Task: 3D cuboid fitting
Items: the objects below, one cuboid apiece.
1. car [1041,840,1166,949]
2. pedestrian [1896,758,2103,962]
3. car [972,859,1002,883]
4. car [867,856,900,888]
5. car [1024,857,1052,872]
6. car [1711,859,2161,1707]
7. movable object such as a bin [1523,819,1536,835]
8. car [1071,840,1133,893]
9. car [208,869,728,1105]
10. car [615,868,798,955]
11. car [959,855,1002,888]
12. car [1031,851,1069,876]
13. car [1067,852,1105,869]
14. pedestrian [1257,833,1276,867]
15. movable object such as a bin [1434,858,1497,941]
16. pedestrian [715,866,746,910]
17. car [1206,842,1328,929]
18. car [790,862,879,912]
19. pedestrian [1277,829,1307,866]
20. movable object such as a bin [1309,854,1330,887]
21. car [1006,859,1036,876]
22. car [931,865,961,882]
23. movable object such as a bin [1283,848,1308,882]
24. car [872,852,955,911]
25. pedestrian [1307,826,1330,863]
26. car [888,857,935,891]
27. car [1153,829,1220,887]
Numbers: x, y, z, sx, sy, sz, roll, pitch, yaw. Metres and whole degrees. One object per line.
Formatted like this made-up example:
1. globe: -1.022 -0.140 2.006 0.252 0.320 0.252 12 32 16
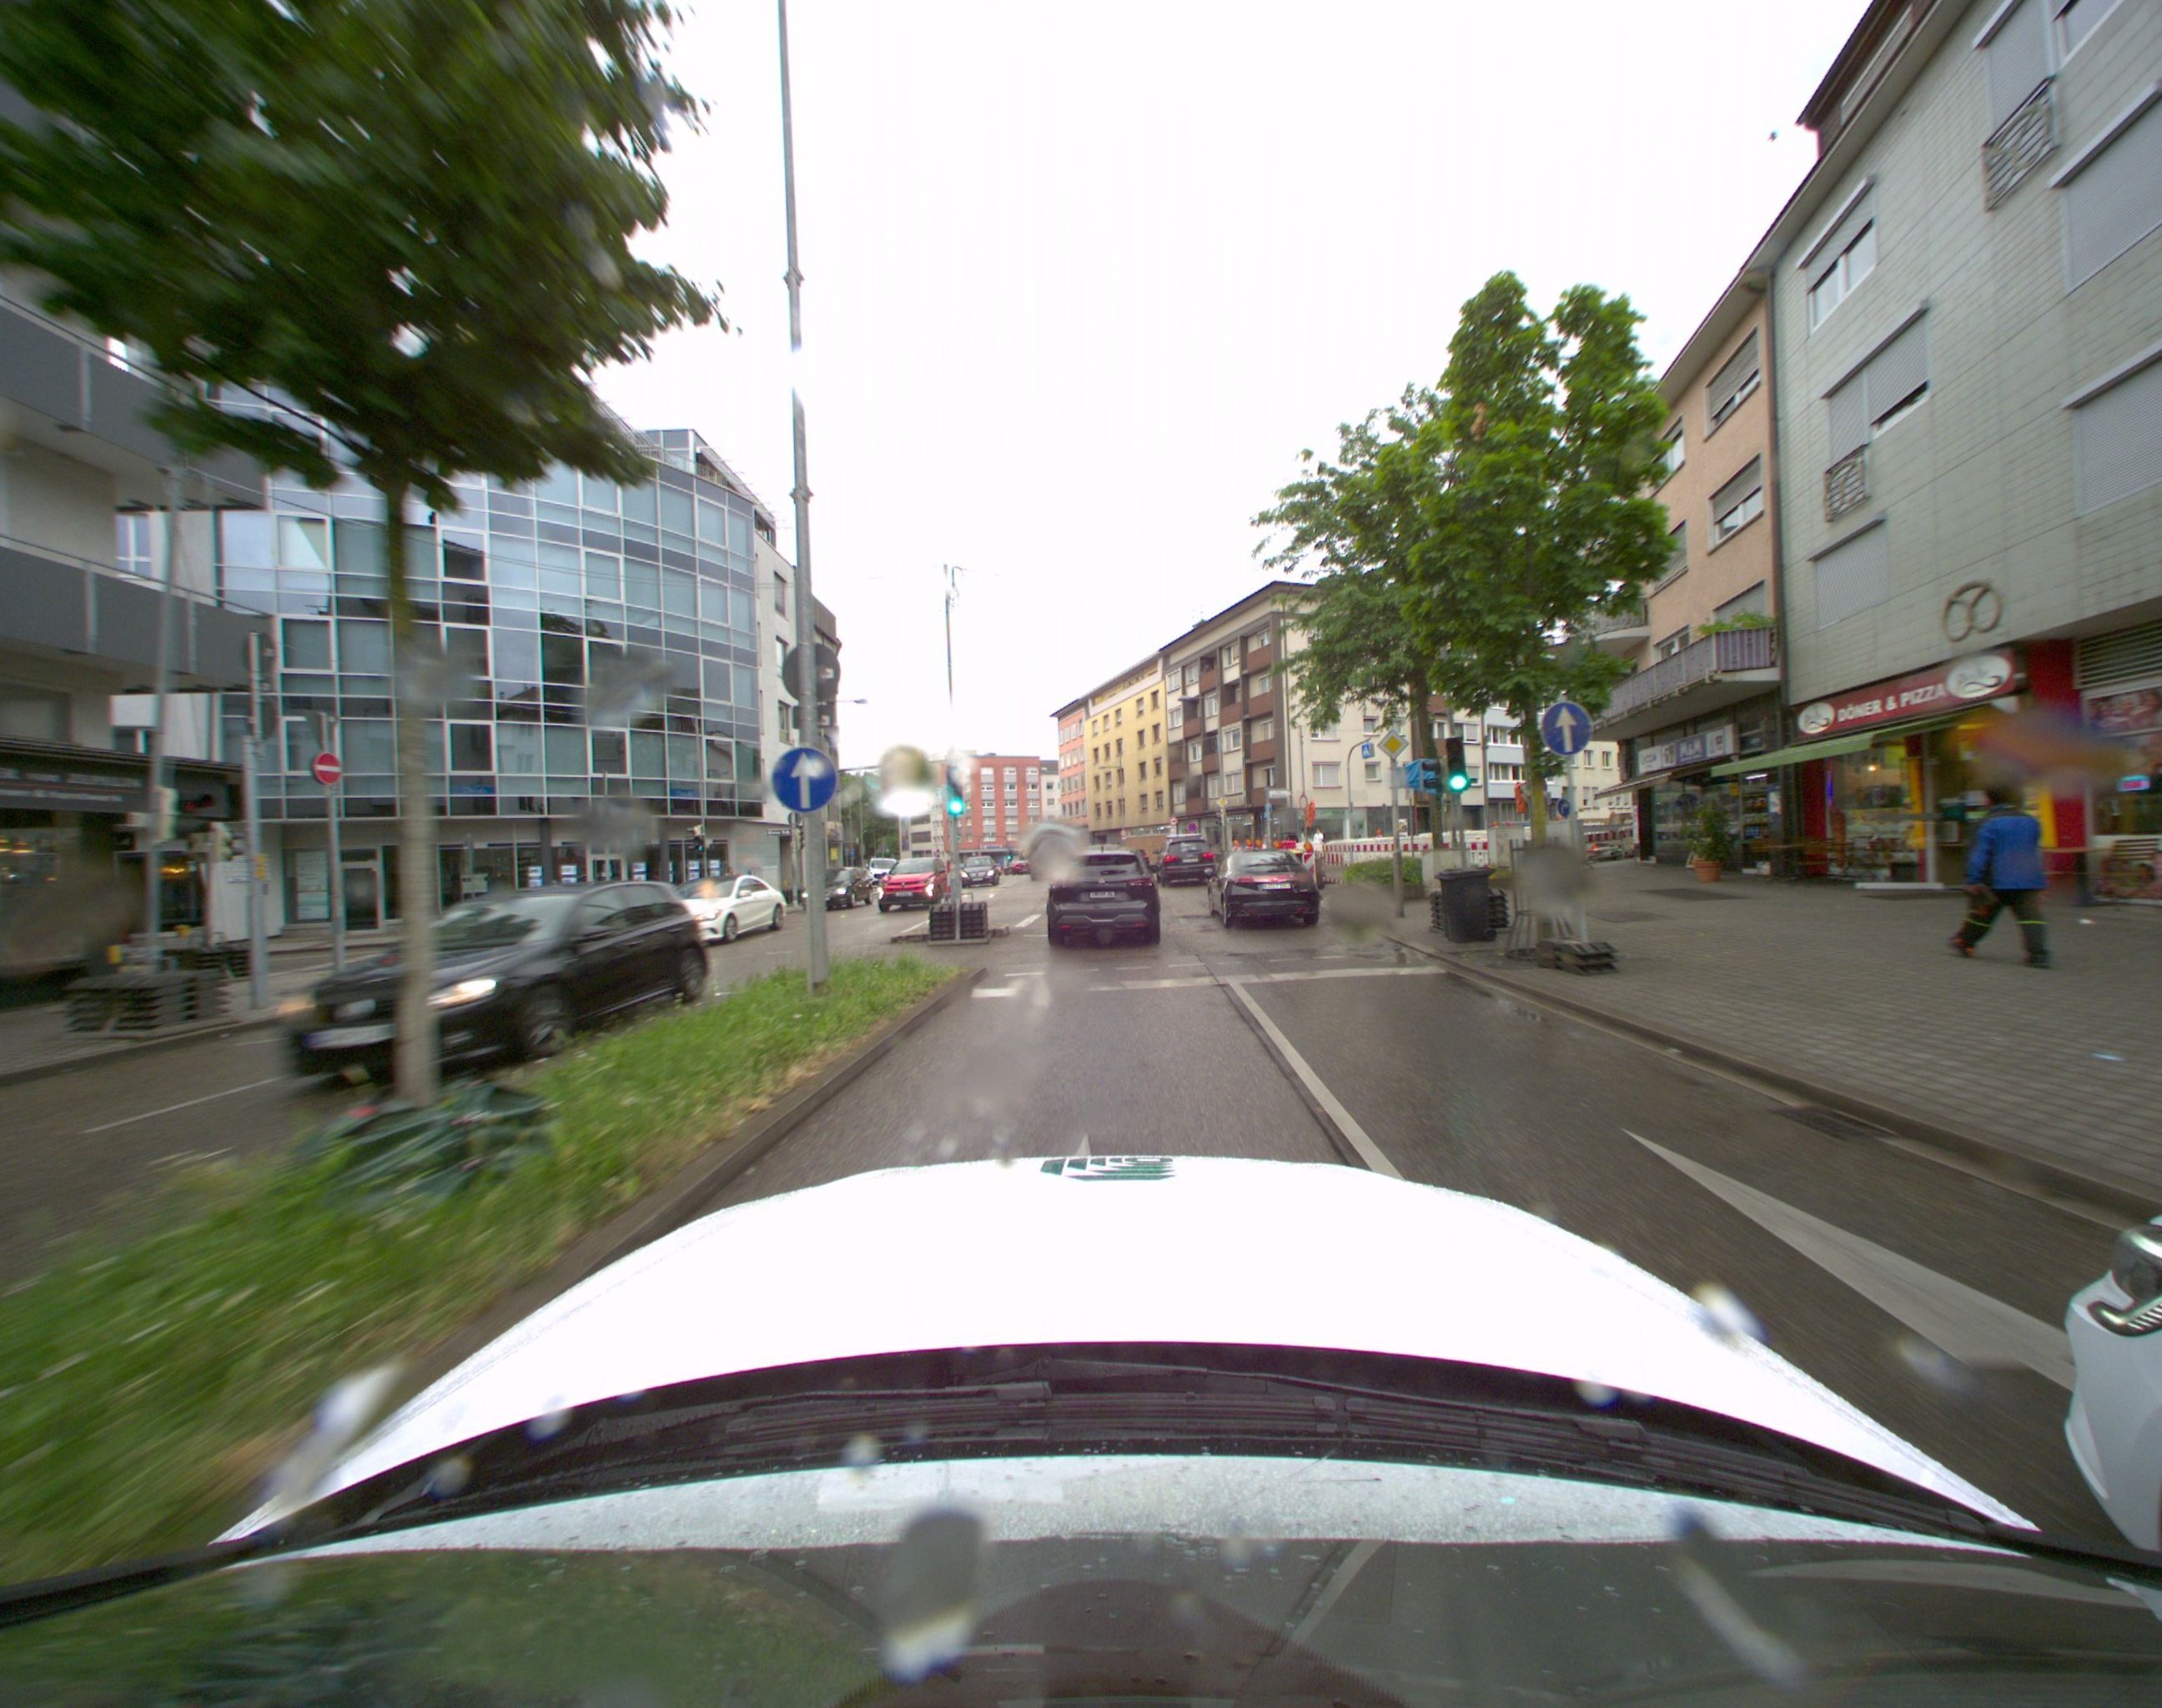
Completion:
1. car: 0.386 0.621 14.495 1.888 1.629 4.001 -2 0 1
2. pedestrian: 8.735 0.073 7.821 0.958 1.792 0.912 -6 -2 31
3. car: -6.498 1.117 55.967 1.852 1.474 4.634 -4 0 -9
4. car: -13.369 1.244 55.232 2.121 2.015 5.104 0 -2 -13
5. car: -4.679 1.152 87.476 2.000 1.519 3.974 0 -1 -19
6. car: 2.666 0.752 0.342 1.671 1.403 4.000 -4 0 1
7. movable object such as a bin: 30.809 -1.866 55.942 0.540 1.048 0.526 0 -1 -30
8. car: 0.859 0.425 30.402 1.936 1.684 4.006 -4 0 5
9. car: -5.309 0.991 7.942 1.811 1.441 4.157 -5 0 0
10. car: -8.148 1.173 18.286 1.839 1.417 4.615 -5 1 0
11. car: -5.278 0.877 43.184 1.826 1.543 4.279 -3 0 -3
12. car: -1.838 0.552 46.985 1.990 1.388 4.492 -1 -1 -5
13. car: 0.421 0.584 70.810 2.000 1.486 3.973 0 -1 -20
14. pedestrian: 9.812 -0.207 43.054 0.786 1.688 0.824 -5 -2 15
15. movable object such as a bin: 5.601 0.652 11.899 0.575 1.111 0.667 -5 1 6
16. pedestrian: -13.579 1.314 31.573 0.618 1.607 0.837 -3 0 27
17. car: 3.602 0.549 16.445 1.776 1.496 4.061 -2 0 4
18. car: -8.578 1.098 28.707 1.841 1.497 4.000 -3 0 0
19. pedestrian: 10.993 -0.339 42.468 0.924 1.861 1.019 -3 -2 -41
20. movable object such as a bin: 7.030 0.489 24.015 0.418 0.929 0.531 -4 1 -1
21. car: -5.847 1.283 78.583 1.999 1.530 3.975 0 -1 -18
22. car: -12.999 1.900 78.295 1.990 1.459 4.456 -5 0 -19
23. movable object such as a bin: 6.885 0.343 26.149 0.619 1.031 0.531 -4 1 -1
24. car: -5.162 0.795 25.610 1.843 1.594 4.086 -3 0 -3
25. pedestrian: 12.693 -0.512 43.477 0.999 1.879 0.649 -2 -3 -44
26. car: -8.674 0.997 41.949 1.769 1.523 4.277 -3 0 -4
27. car: 3.784 0.103 30.035 2.013 1.869 4.904 -3 1 3
